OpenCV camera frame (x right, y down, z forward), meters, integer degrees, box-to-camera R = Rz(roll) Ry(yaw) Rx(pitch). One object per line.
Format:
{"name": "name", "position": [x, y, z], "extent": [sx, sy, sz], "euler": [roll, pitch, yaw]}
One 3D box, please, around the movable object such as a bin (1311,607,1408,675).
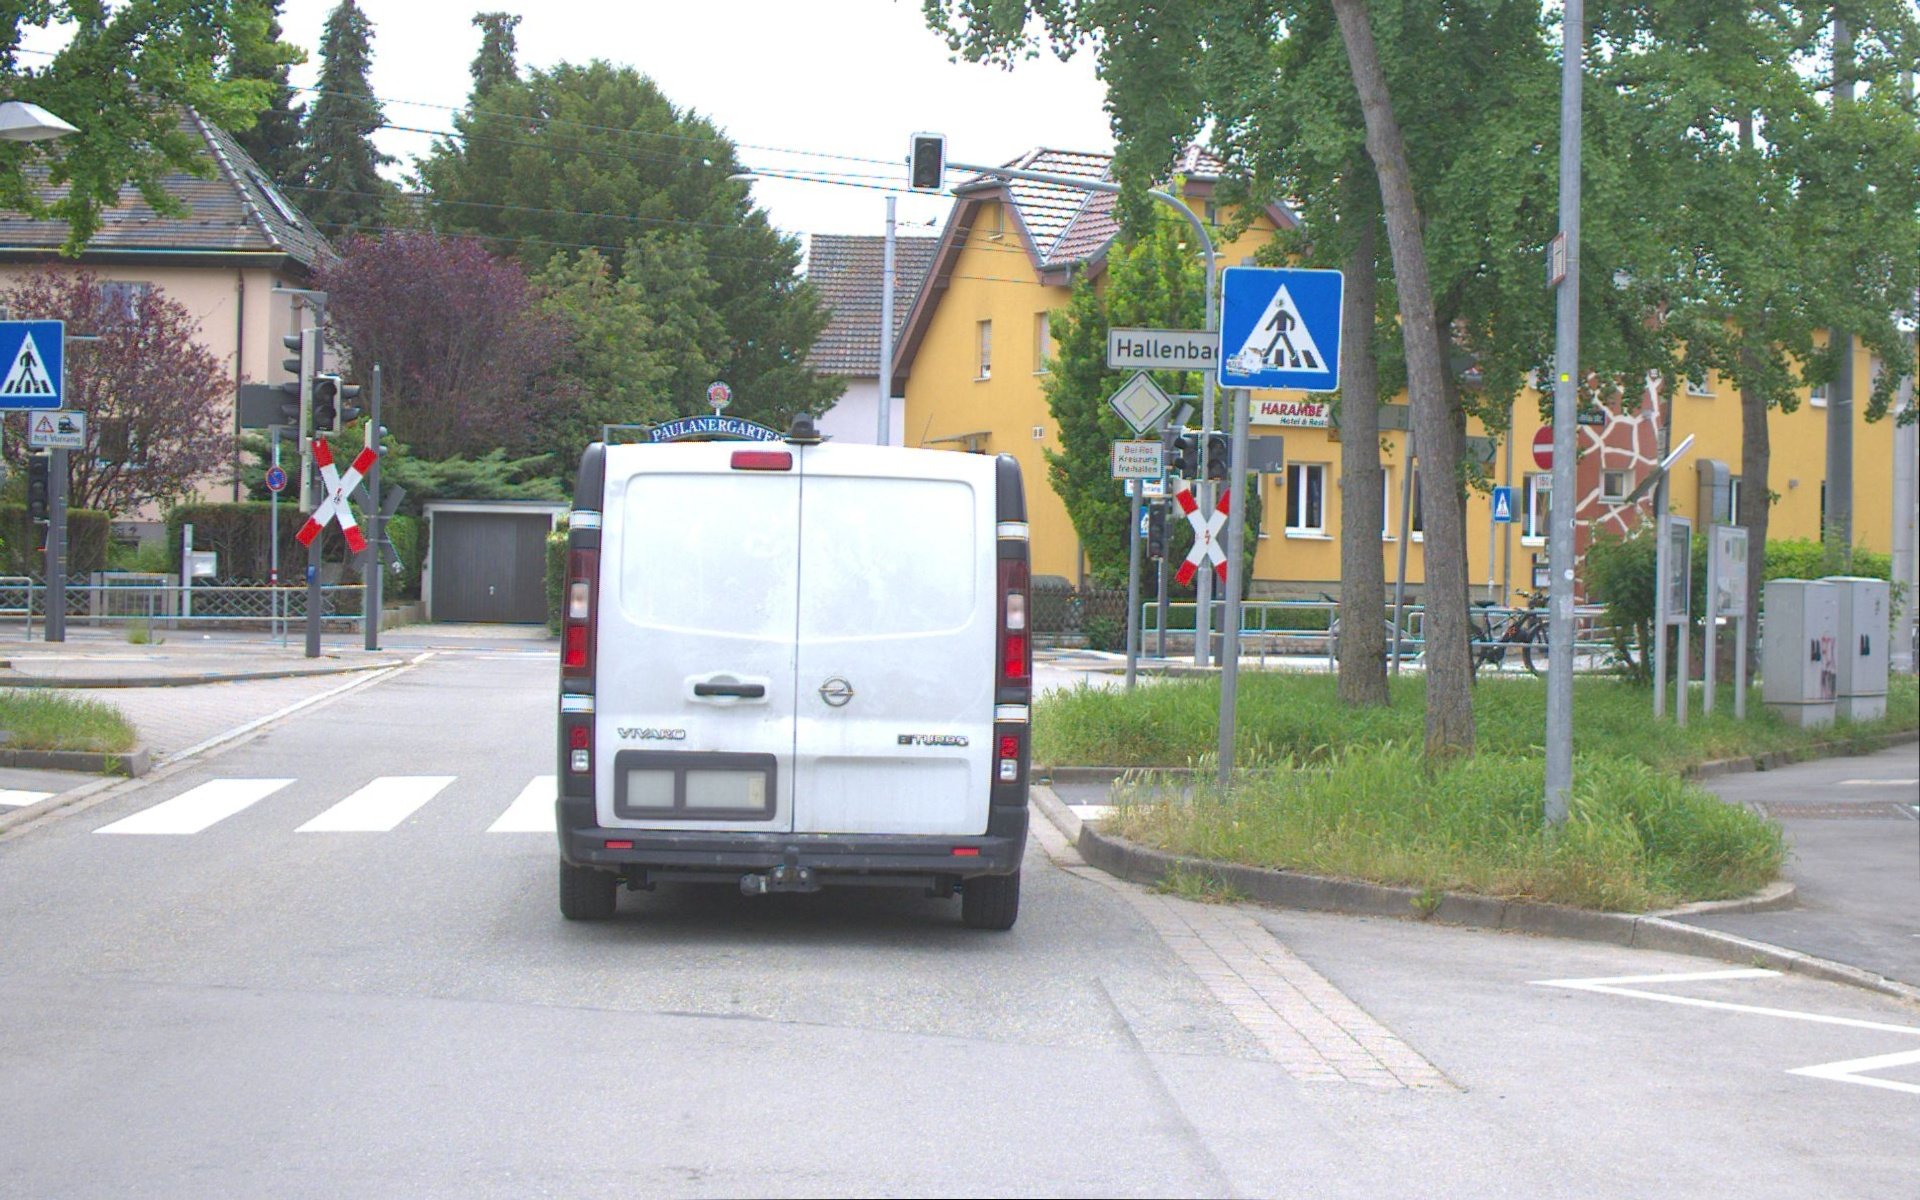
{"name": "movable object such as a bin", "position": [5.052, 0.518, 43.459], "extent": [1.091, 0.822, 0.579], "euler": [2, 0, -7]}

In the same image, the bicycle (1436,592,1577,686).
{"name": "bicycle", "position": [6.933, 0.495, 43.611], "extent": [1.686, 1.152, 0.467], "euler": [1, 0, -10]}

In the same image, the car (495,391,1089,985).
{"name": "car", "position": [-0.820, 0.295, 15.424], "extent": [2.116, 2.127, 5.442], "euler": [2, 1, -4]}
